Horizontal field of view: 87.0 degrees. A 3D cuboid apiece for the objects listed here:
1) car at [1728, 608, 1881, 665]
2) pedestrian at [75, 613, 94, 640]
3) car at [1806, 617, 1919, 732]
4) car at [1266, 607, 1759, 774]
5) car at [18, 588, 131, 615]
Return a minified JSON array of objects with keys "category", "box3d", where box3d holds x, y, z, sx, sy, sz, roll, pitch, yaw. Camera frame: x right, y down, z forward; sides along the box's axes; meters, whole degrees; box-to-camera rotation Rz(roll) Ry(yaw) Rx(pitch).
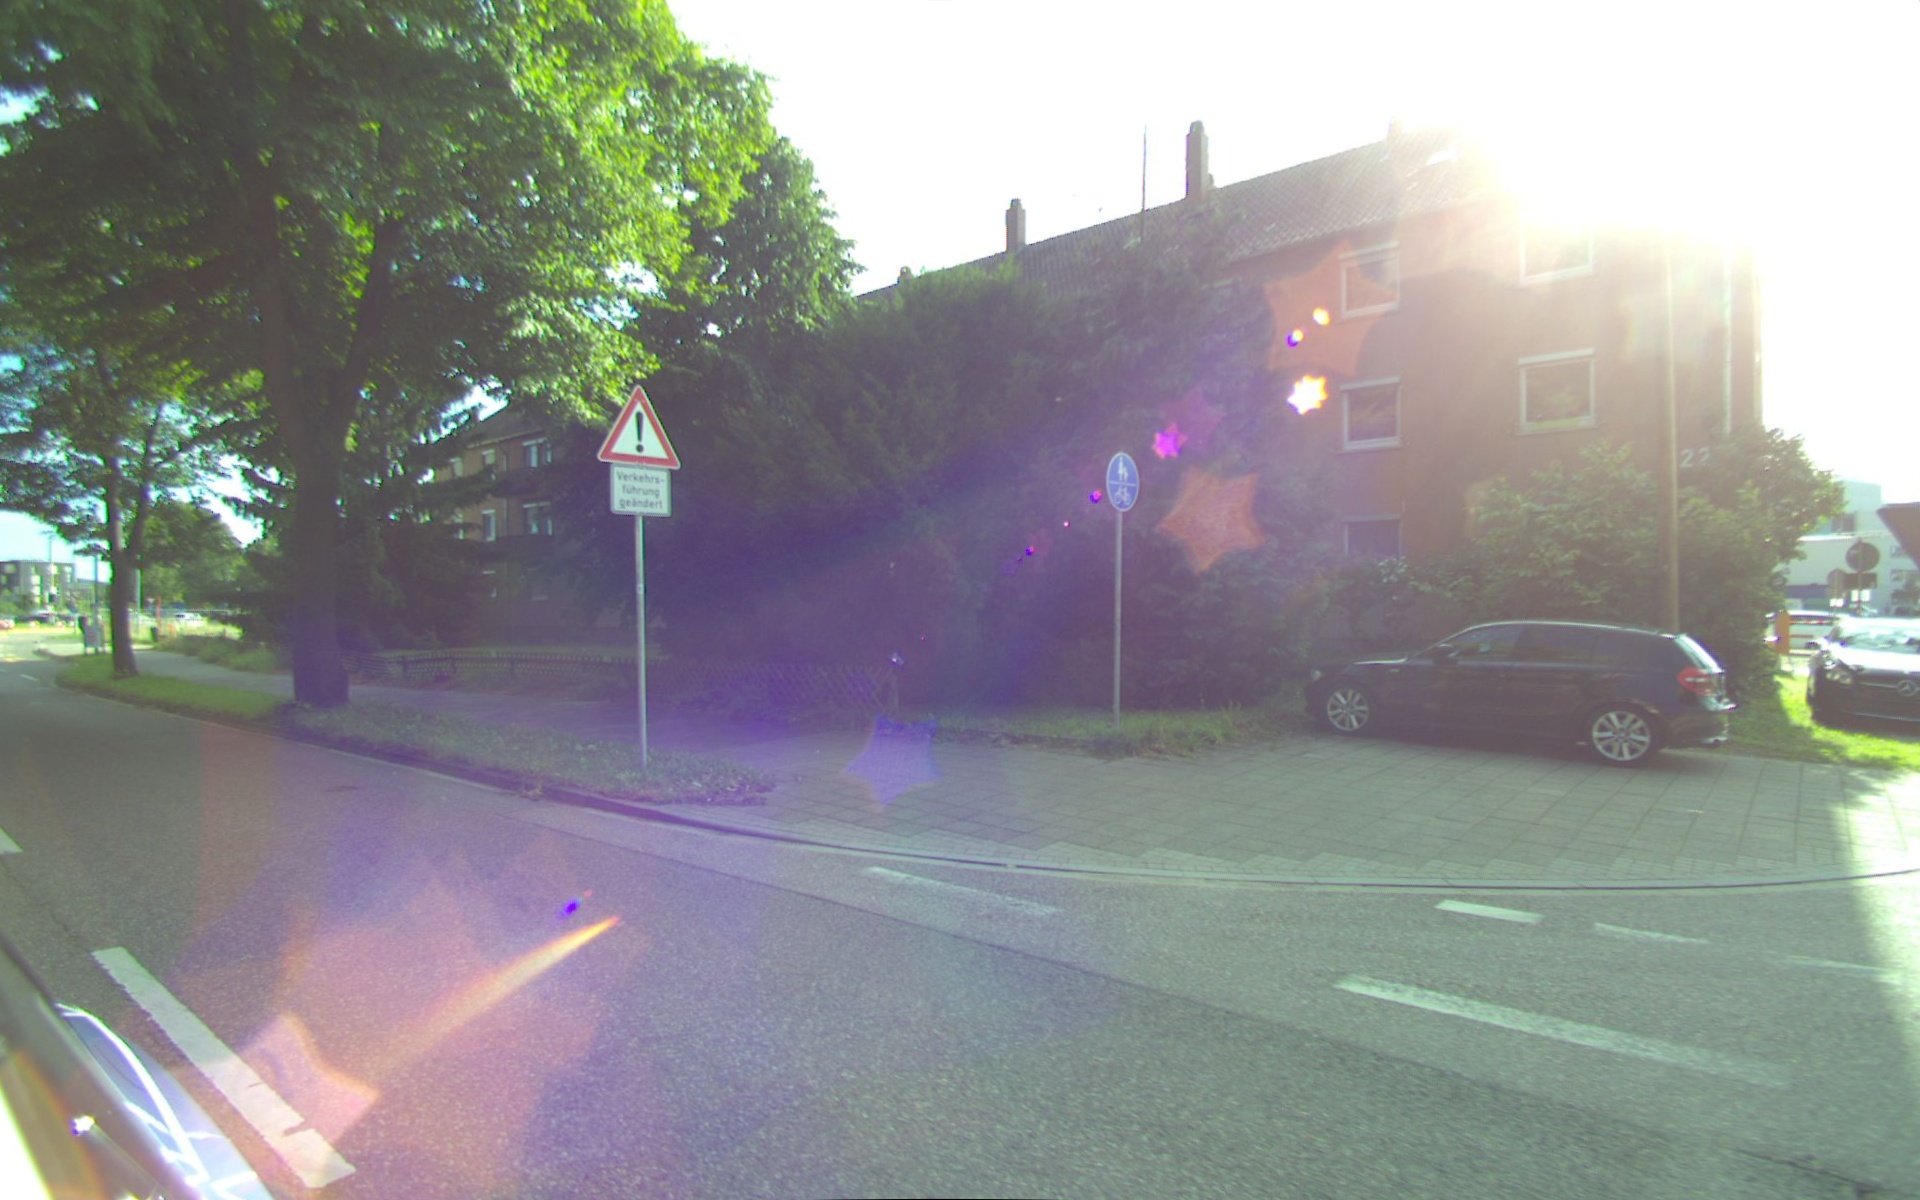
[{"category":"car","box3d":[29.808,1.241,35.891,3.976,1.821,1.797,1,2,35]},{"category":"pedestrian","box3d":[-60.946,1.818,70.414,0.739,1.838,0.705,-1,0,20]},{"category":"car","box3d":[12.985,0.963,13.770,2.001,1.314,3.943,5,3,43]},{"category":"car","box3d":[5.977,0.830,11.309,4.507,1.439,1.972,1,0,43]},{"category":"car","box3d":[-66.435,0.074,76.027,6.160,1.881,2.480,-1,1,-3]}]
